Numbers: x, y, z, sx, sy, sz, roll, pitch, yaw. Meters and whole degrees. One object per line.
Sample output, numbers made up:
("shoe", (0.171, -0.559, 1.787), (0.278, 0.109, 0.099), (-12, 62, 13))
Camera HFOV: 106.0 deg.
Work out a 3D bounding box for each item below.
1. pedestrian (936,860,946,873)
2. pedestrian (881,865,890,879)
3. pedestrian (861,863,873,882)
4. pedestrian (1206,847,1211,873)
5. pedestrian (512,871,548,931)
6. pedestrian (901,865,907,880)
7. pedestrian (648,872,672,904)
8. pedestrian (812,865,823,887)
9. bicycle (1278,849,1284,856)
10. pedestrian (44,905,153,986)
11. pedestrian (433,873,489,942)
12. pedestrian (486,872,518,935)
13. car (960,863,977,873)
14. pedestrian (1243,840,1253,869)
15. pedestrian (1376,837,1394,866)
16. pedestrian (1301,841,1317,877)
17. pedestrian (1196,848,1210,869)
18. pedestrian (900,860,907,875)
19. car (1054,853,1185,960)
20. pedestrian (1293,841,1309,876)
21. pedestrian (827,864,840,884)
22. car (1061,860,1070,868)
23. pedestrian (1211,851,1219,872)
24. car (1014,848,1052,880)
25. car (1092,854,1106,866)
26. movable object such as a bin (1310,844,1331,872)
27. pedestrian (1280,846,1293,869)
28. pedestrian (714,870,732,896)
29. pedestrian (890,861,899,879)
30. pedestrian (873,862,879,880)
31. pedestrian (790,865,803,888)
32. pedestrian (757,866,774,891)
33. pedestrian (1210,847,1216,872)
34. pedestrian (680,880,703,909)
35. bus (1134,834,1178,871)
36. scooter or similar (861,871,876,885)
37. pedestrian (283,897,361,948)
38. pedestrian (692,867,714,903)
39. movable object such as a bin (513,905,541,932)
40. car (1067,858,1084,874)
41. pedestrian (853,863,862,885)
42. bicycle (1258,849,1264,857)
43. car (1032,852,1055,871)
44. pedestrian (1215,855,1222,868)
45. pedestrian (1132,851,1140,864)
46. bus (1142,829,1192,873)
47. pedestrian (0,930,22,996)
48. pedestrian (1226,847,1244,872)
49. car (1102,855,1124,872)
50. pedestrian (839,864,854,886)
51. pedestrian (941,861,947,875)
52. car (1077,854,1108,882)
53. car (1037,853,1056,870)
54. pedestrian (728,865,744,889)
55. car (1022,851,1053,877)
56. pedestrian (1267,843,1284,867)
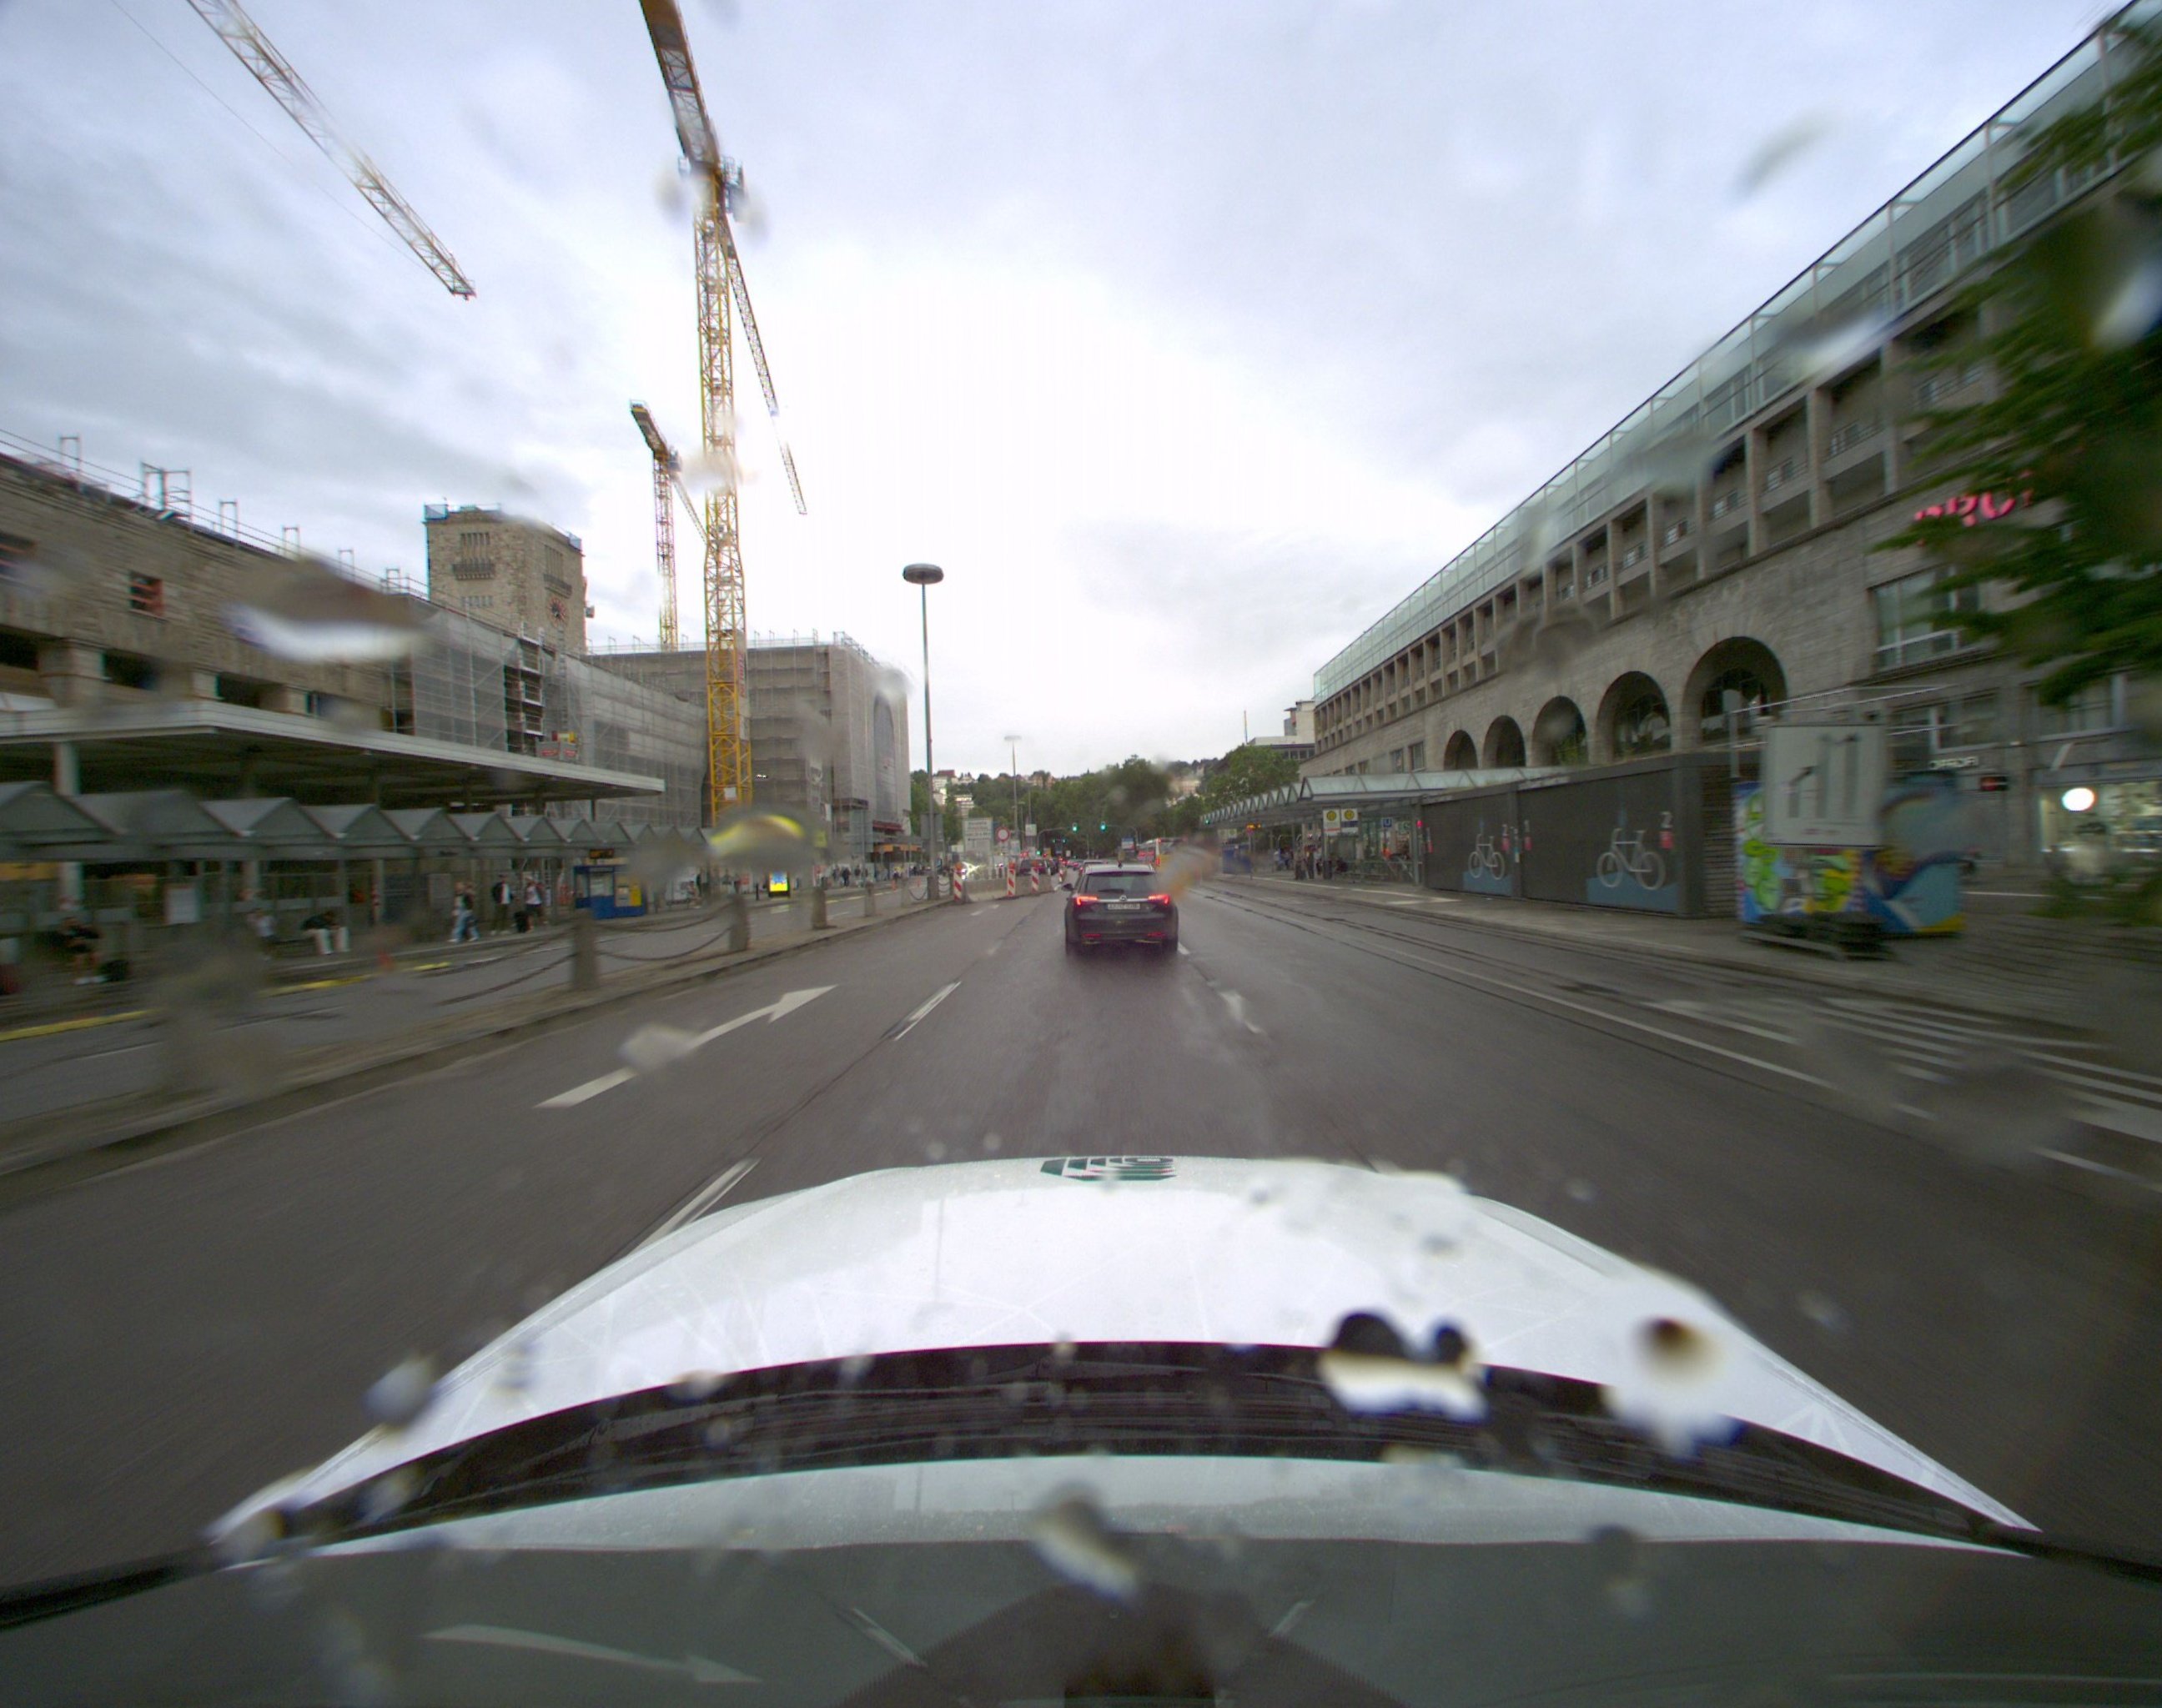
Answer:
("pedestrian", (-19.868, 1.802, 115.560), (0.975, 1.841, 1.046), (-3, 0, 20))
("pedestrian", (-22.252, 2.029, 92.755), (0.673, 1.613, 0.839), (-2, 0, 2))
("pedestrian", (-21.146, 1.811, 80.560), (0.835, 1.841, 1.059), (-2, 0, 4))
("pedestrian", (9.312, 0.438, 59.557), (0.242, 1.836, 0.512), (-2, 0, 4))
("pedestrian", (-16.989, 1.444, 25.119), (0.785, 1.790, 0.666), (-2, 0, -27))
("pedestrian", (-20.240, 2.156, 93.087), (0.682, 1.685, 0.834), (-2, 0, -14))
("pedestrian", (-23.436, 1.866, 45.319), (0.875, 1.700, 0.836), (-2, 0, -1))
("pedestrian", (-22.597, 1.847, 69.890), (0.718, 1.841, 0.612), (-2, 0, 3))
("bicycle", (29.158, -0.248, 118.610), (0.612, 1.055, 2.000), (-4, 0, 7))
("pedestrian", (-19.051, 1.759, 15.816), (1.052, 1.432, 0.830), (-2, 0, -1))
("pedestrian", (-16.706, 1.434, 21.950), (0.771, 1.790, 0.862), (-2, 0, 7))
("pedestrian", (-17.723, 1.503, 24.931), (0.682, 1.848, 0.551), (-1, -1, -44))
("car", (-17.283, 2.116, 125.180), (1.987, 1.468, 3.999), (-1, -1, 0))
("pedestrian", (12.851, 0.045, 62.522), (0.588, 2.215, 0.587), (-2, 0, 2))
("pedestrian", (19.445, -0.170, 52.062), (0.764, 1.831, 0.746), (-2, 0, -29))
("pedestrian", (11.896, 0.255, 42.551), (0.625, 1.836, 0.642), (-2, 0, 2))
("pedestrian", (10.667, 0.372, 71.213), (0.977, 1.836, 0.839), (-2, 0, 16))
("pedestrian", (-22.216, 1.685, 102.059), (0.772, 1.841, 0.831), (-2, 0, -14))
("car", (0.638, 0.780, 14.421), (1.870, 1.508, 4.853), (-2, 0, 2))
("pedestrian", (11.774, 0.237, 43.660), (0.673, 1.836, 0.574), (-2, 0, 2))
("pedestrian", (-22.585, 1.828, 74.378), (0.799, 1.841, 0.869), (-2, 0, 3))
("car", (-3.335, 2.186, 174.151), (1.700, 1.665, 3.706), (-1, -1, 1))
("pedestrian", (11.943, 0.657, 72.448), (0.563, 1.836, 0.570), (-2, 0, 3))
("car", (-3.094, 0.627, 53.121), (1.986, 1.862, 4.834), (-3, 0, 1))
("car", (2.315, 0.787, 104.433), (1.669, 1.581, 3.238), (-1, -1, -1))
("movable object such as a bin", (14.412, 0.257, 49.086), (0.665, 1.652, 1.040), (-2, 0, -23))
("pedestrian", (15.139, 0.243, 60.034), (0.745, 1.695, 0.902), (-2, 0, 3))
("pedestrian", (-23.658, 1.900, 53.826), (0.801, 1.670, 0.700), (-2, 0, -5))
("pedestrian", (-19.148, 1.659, 83.586), (0.876, 1.841, 0.834), (-2, 0, -14))
("pedestrian", (-21.107, 1.759, 83.799), (0.571, 1.841, 0.701), (-2, 0, -14))
("pedestrian", (-22.851, 1.807, 65.492), (0.739, 1.841, 0.657), (-2, 0, 3))
("pedestrian", (-22.895, 1.773, 59.115), (0.854, 1.841, 1.045), (0, 0, 0))
("pedestrian", (9.628, 0.390, 59.537), (0.345, 1.836, 0.533), (-2, 0, 3))
("pedestrian", (-18.591, 1.925, 38.885), (0.697, 1.326, 0.805), (-2, 0, -1))
("bus", (6.892, -0.051, 75.810), (3.104, 3.205, 9.238), (-1, -1, -1))
("scooter or similar", (-18.149, 2.052, 69.612), (0.454, 1.066, 1.248), (-2, 0, 35))
("pedestrian", (-19.158, 1.712, 20.592), (0.946, 1.158, 1.055), (-2, 0, 0))
("pedestrian", (-20.149, 1.648, 43.377), (0.738, 1.841, 0.705), (-2, 0, 20))
("movable object such as a bin", (-17.394, 2.030, 25.577), (0.505, 0.789, 0.638), (-4, -1, 45))
("car", (-0.739, 1.590, 109.910), (1.979, 2.014, 4.364), (-1, -1, -4))
("pedestrian", (-18.668, 1.662, 67.990), (0.507, 1.841, 0.703), (-2, 0, -6))
("bicycle", (26.230, -0.079, 118.794), (0.612, 1.119, 2.000), (-4, 0, 7))
("car", (-3.608, 0.734, 78.487), (1.988, 1.654, 4.638), (-3, 0, -1))
("pedestrian", (13.515, 0.699, 79.926), (0.512, 1.232, 0.771), (-2, -1, 3))
("pedestrian", (8.025, 0.529, 118.069), (0.788, 1.838, 0.945), (-2, -1, -15))
("bus", (6.900, -0.180, 66.644), (3.131, 3.247, 9.134), (-1, -1, 0))
("pedestrian", (-18.990, 1.898, 13.799), (0.841, 1.093, 0.925), (-2, 0, -1))
("pedestrian", (10.588, 0.392, 56.018), (0.762, 1.690, 0.992), (-2, 0, -21))
("car", (3.211, 0.970, 82.626), (1.847, 1.717, 3.996), (-1, -1, -2))
("pedestrian", (-19.557, 1.756, 67.946), (0.695, 1.841, 0.883), (-2, 0, 29))
("pedestrian", (-19.630, 1.996, 116.543), (0.696, 1.841, 0.528), (-2, 0, -3))
("car", (0.736, 0.861, 51.898), (1.824, 1.686, 4.135), (-2, 0, 1))
("car", (-3.791, 0.807, 89.994), (1.988, 1.787, 4.450), (-3, 0, -2))
("pedestrian", (-22.840, 1.486, 53.922), (0.801, 1.547, 0.700), (-2, 0, -5))
("car", (-3.077, 0.685, 58.590), (1.988, 1.706, 4.829), (-3, 0, -2))
("pedestrian", (15.144, 0.075, 63.338), (0.791, 1.804, 0.983), (-2, -1, -28))
